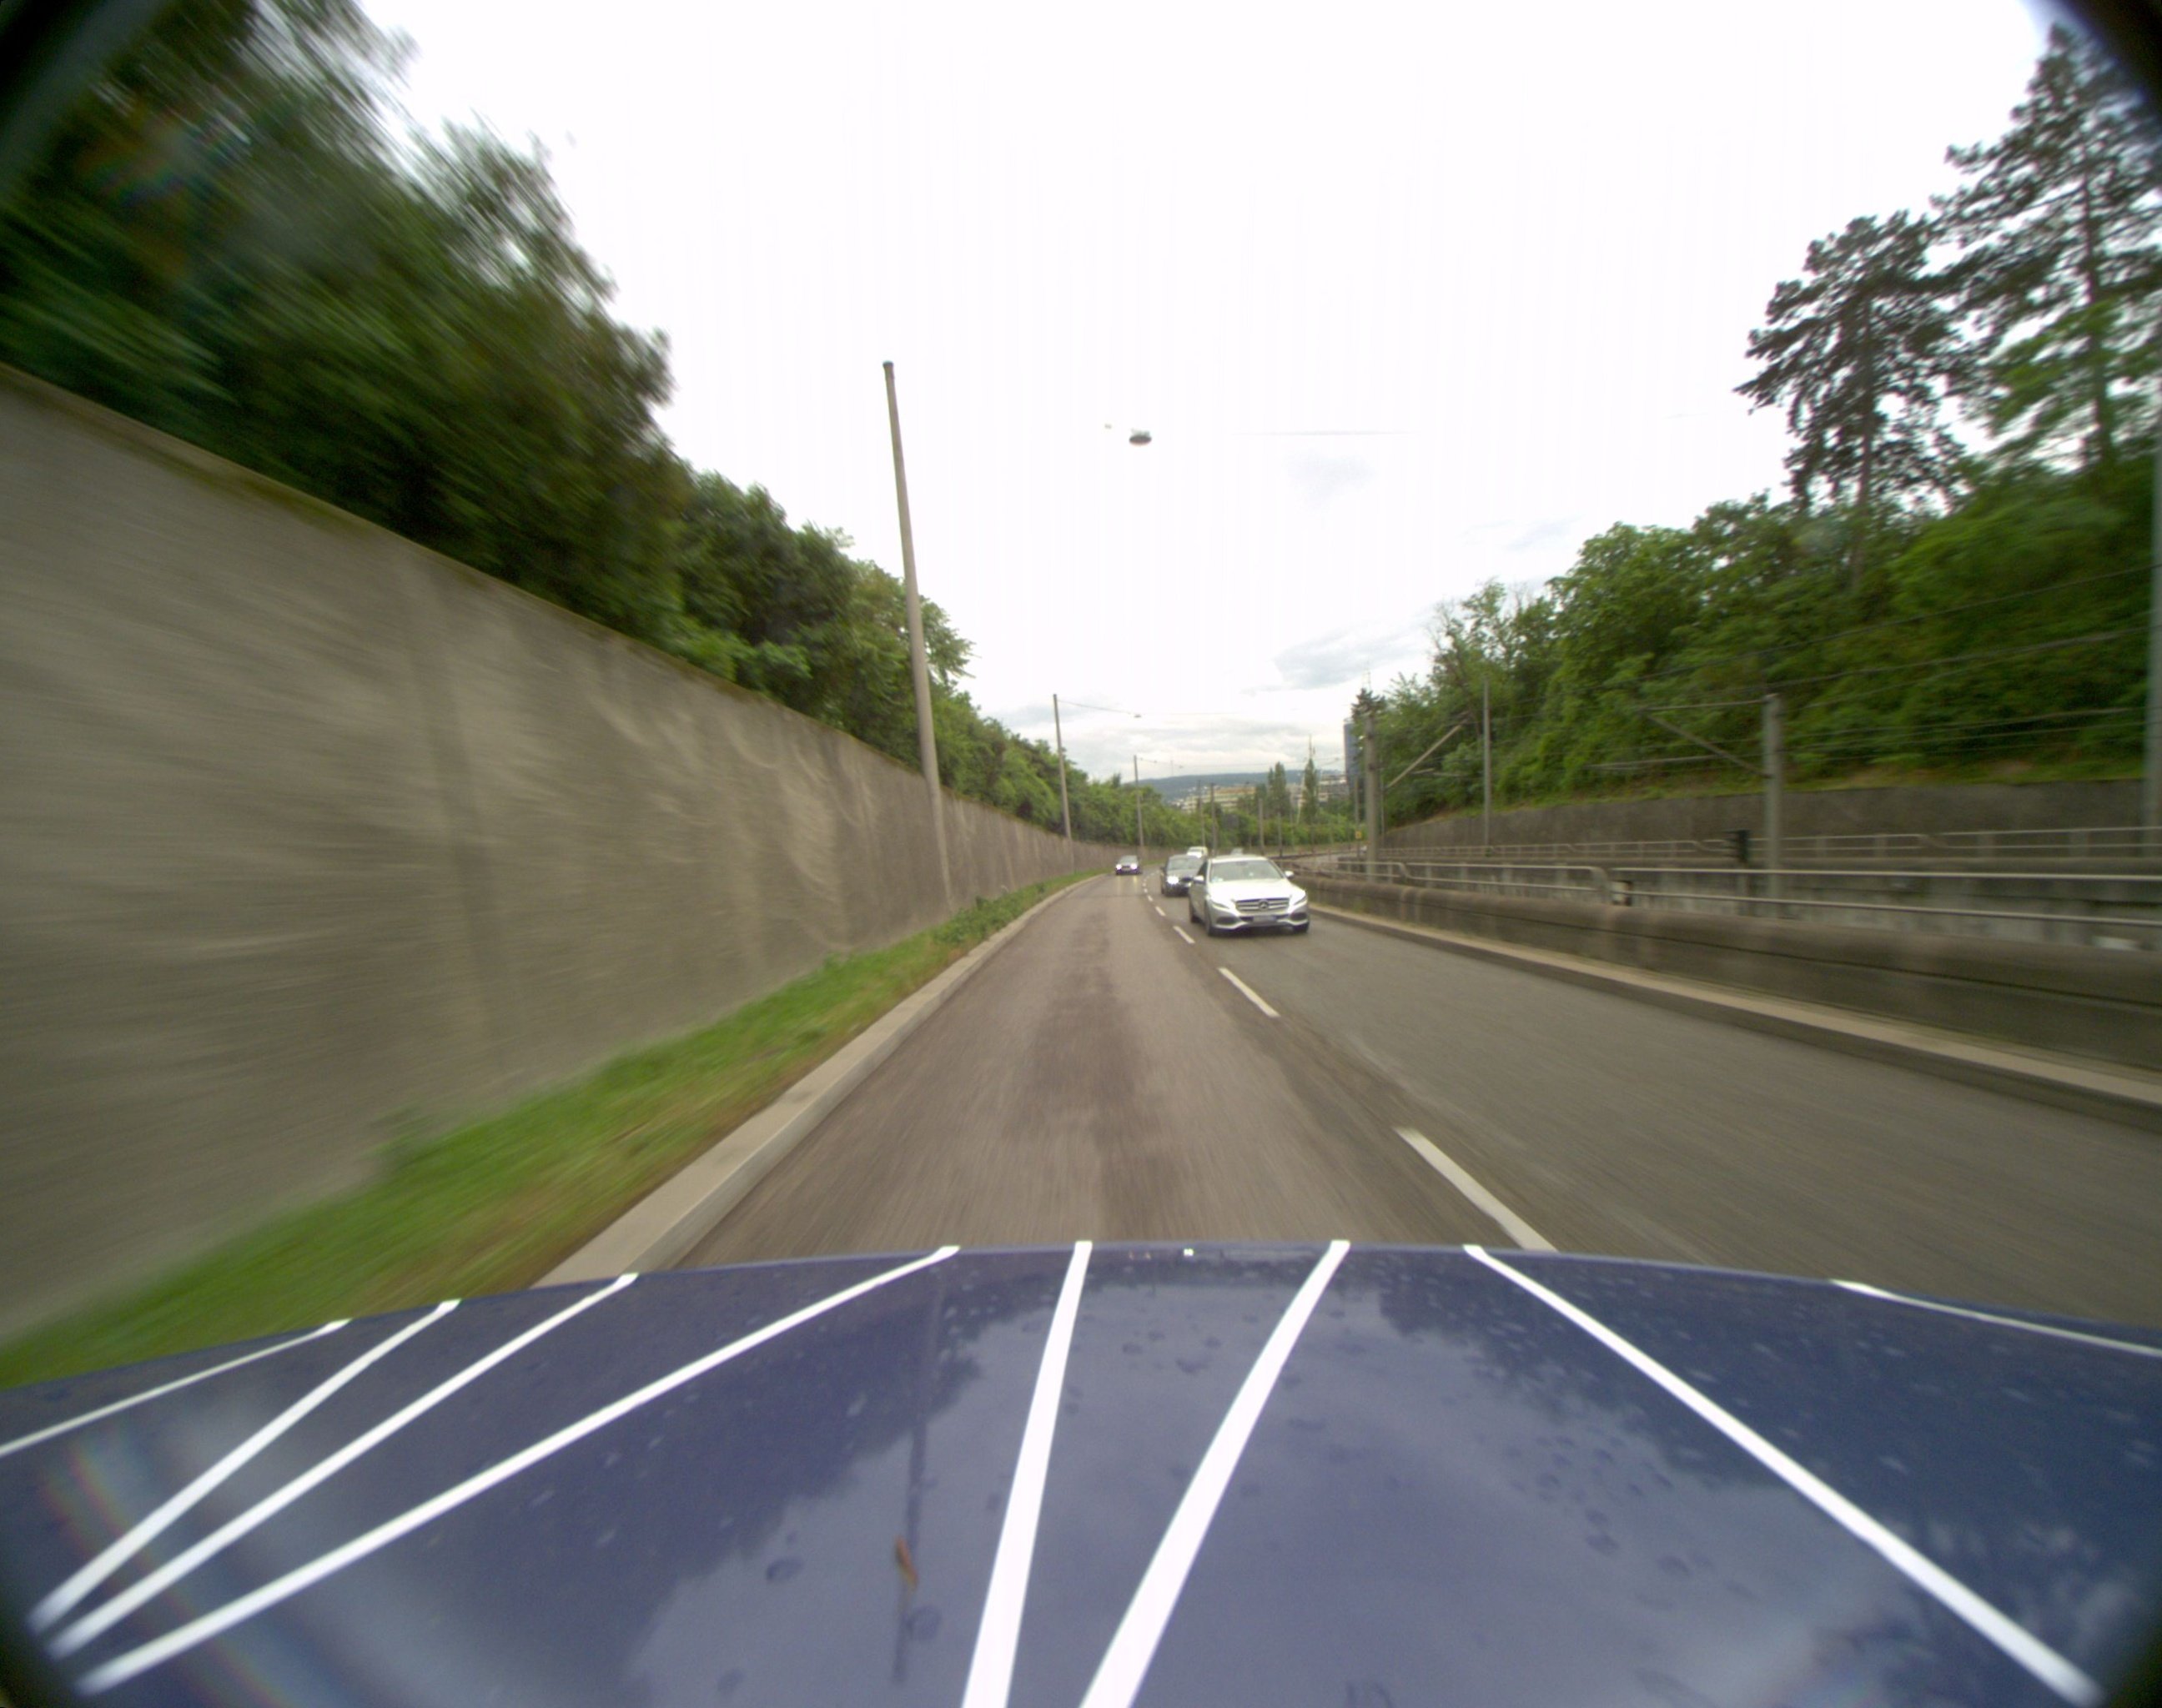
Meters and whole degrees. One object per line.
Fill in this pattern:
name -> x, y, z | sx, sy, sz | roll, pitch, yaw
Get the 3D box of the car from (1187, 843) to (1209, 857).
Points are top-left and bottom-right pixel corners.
car -> 14.862, -0.525, 96.309 | 1.807, 1.501, 4.004 | -4, 2, 23

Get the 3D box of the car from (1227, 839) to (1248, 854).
car -> 21.928, -1.059, 106.249 | 1.995, 2.002, 4.501 | -1, 1, 21

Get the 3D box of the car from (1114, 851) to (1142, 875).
car -> 3.487, 0.624, 57.080 | 1.810, 1.501, 3.998 | -4, 2, 1

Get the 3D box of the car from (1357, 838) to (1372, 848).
car -> 49.624, -1.948, 132.863 | 1.936, 1.674, 4.416 | -1, 1, 28

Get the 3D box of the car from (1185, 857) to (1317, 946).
car -> 3.208, 0.827, 15.193 | 1.861, 1.395, 4.315 | -3, 0, 3

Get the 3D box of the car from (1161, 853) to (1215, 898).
car -> 3.847, 0.728, 27.845 | 1.729, 1.462, 3.889 | -2, 0, 5
